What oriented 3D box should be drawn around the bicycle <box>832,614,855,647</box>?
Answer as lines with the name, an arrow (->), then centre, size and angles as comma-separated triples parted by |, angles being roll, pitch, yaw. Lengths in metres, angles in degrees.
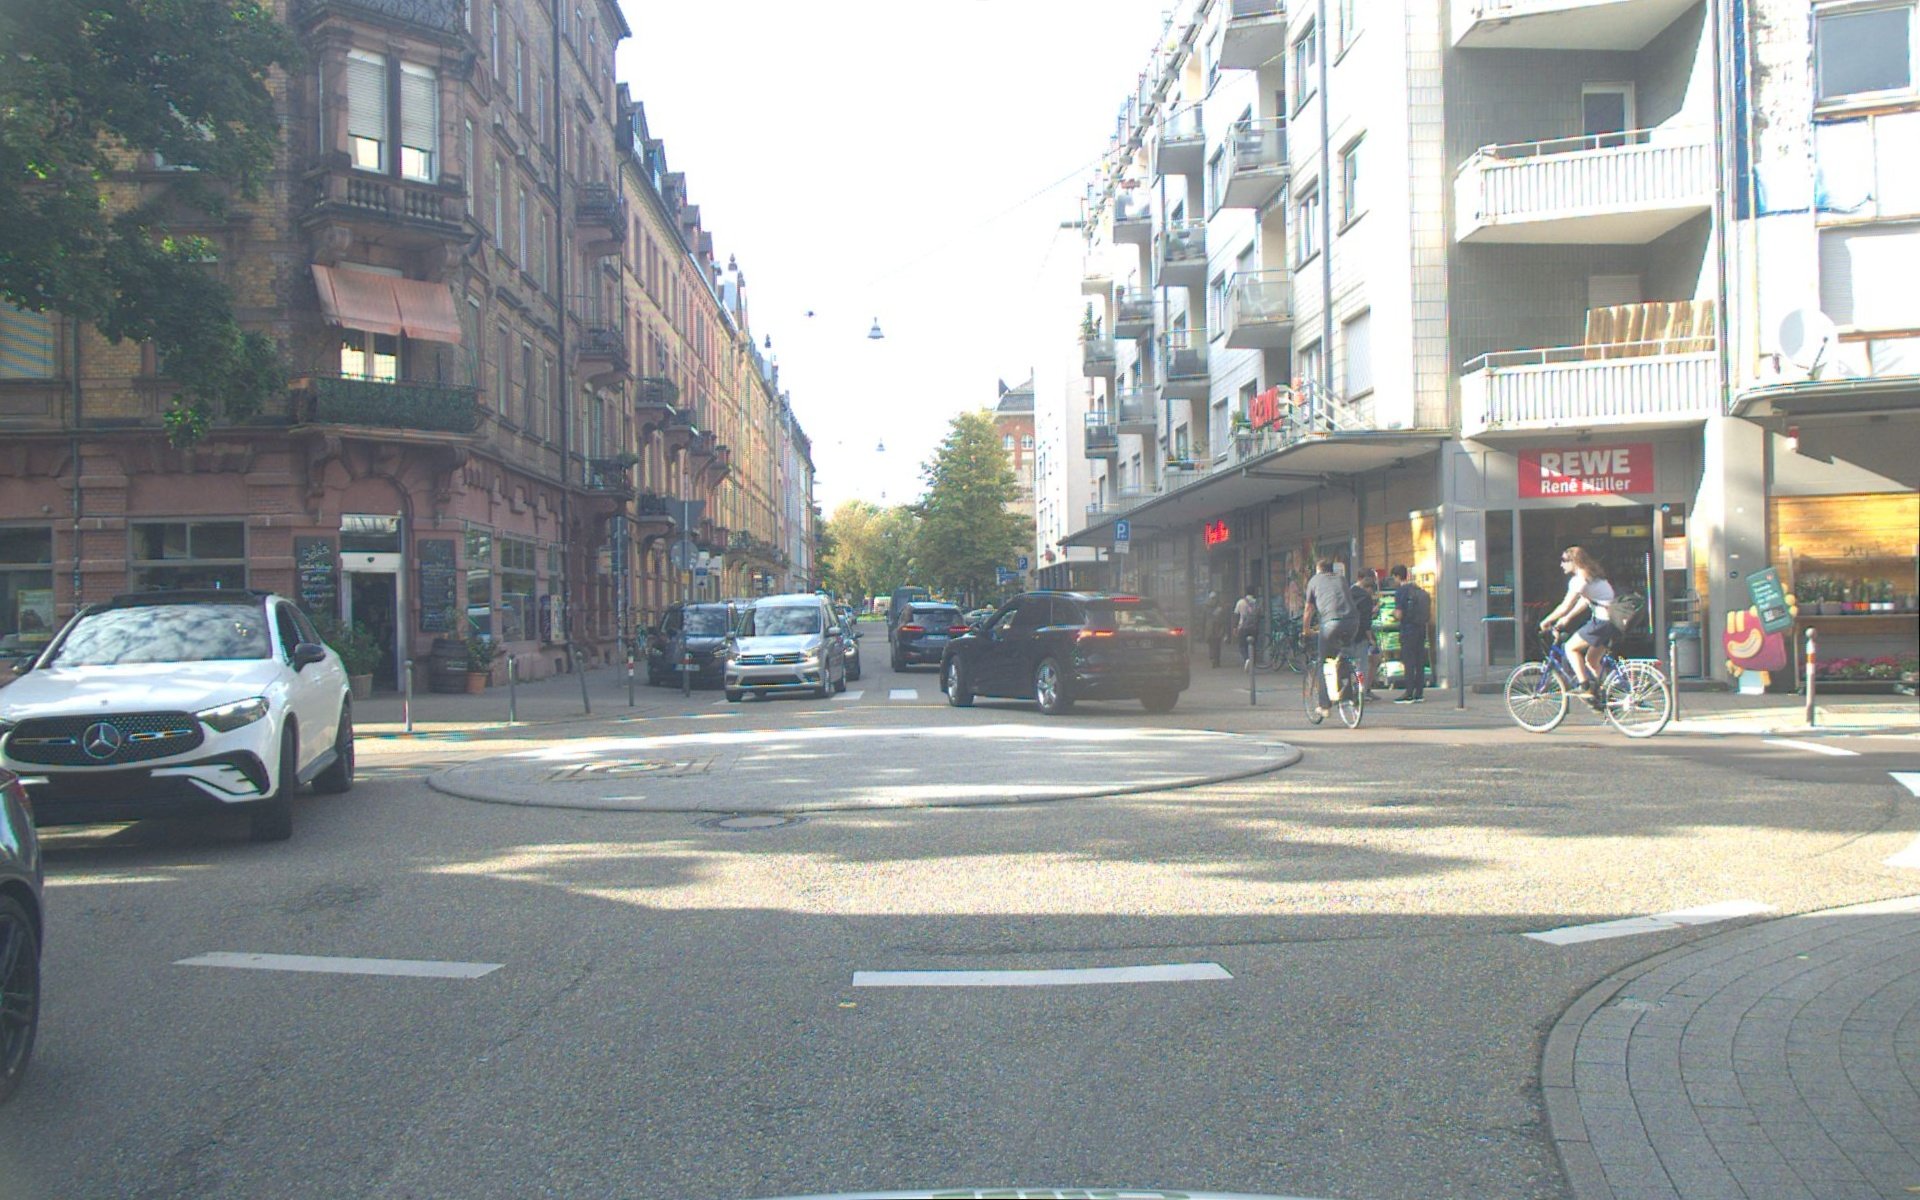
bicycle -> -5.588, 1.452, 79.327 | 0.908, 1.515, 3.459 | 1, -1, -7

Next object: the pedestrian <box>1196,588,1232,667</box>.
pedestrian -> 5.445, 0.588, 35.453 | 0.729, 1.657, 0.813 | -1, 0, 9

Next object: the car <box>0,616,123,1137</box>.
car -> -3.357, 0.757, 3.438 | 1.718, 1.461, 4.201 | 0, -1, -10

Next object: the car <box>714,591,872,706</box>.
car -> -2.865, 0.796, 29.495 | 1.755, 1.822, 4.739 | -2, 0, 7

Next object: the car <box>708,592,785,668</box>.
car -> -6.181, 0.841, 48.176 | 1.954, 2.049, 3.996 | -2, 0, -4

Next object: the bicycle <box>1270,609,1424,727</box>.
bicycle -> 4.189, 0.703, 18.144 | 0.654, 1.199, 2.489 | 0, -1, -12

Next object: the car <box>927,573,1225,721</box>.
car -> 1.462, 0.576, 23.080 | 2.011, 1.754, 4.806 | -3, 1, -25

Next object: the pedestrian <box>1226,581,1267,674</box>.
pedestrian -> 5.481, 0.519, 31.671 | 0.725, 1.742, 0.734 | -1, 0, 9

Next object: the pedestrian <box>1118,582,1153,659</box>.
pedestrian -> 4.455, 0.513, 41.954 | 0.715, 1.897, 1.063 | -1, 0, 12

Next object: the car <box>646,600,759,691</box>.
car -> -5.529, 0.932, 36.036 | 1.746, 1.754, 4.445 | 0, 1, 0

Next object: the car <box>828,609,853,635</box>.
car -> -9.852, 1.785, 136.627 | 1.954, 2.049, 3.997 | -1, 0, -3

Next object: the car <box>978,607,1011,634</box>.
car -> 1.878, 1.122, 90.379 | 1.612, 1.347, 3.575 | -4, 0, -1

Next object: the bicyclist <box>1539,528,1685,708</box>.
bicyclist -> 6.403, 0.172, 16.260 | 0.935, 1.697, 1.001 | -1, -1, -42

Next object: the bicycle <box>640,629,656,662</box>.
bicycle -> -9.600, 1.390, 50.932 | 0.353, 0.963, 1.713 | 0, 0, -7

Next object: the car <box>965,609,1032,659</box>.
car -> 1.205, 1.065, 53.463 | 1.953, 1.512, 3.999 | -2, 0, -2

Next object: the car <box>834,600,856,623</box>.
car -> -10.831, 1.071, 155.942 | 1.954, 2.049, 3.997 | -1, 0, -3

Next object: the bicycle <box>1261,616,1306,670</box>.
bicycle -> 6.349, 0.829, 32.542 | 0.353, 1.016, 1.713 | -1, 0, -6

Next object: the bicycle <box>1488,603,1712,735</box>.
bicycle -> 6.283, 0.658, 16.317 | 0.706, 1.220, 1.945 | -1, -1, -41

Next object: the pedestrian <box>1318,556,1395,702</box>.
pedestrian -> 5.236, 0.381, 21.899 | 0.851, 1.883, 0.612 | -1, 0, 3

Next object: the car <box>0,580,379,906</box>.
car -> -5.415, 0.784, 11.740 | 1.910, 1.752, 4.831 | -3, 1, -14

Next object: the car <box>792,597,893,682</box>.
car -> -2.636, 0.858, 38.077 | 1.888, 1.754, 4.736 | -3, 0, 0

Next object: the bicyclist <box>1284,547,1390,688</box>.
bicyclist -> 4.137, 0.190, 18.197 | 0.917, 1.510, 0.745 | 0, -1, -13

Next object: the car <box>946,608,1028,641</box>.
car -> 1.310, 1.214, 82.634 | 3.909, 1.512, 1.998 | -2, 0, -5

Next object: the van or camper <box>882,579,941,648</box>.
van or camper -> -2.294, 0.644, 77.560 | 2.482, 3.090, 4.454 | -1, 0, -5

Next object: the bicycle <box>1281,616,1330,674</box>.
bicycle -> 6.290, 0.808, 30.179 | 0.356, 1.034, 1.427 | -1, 0, -10

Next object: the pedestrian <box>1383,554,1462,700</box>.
pedestrian -> 6.089, 0.356, 21.812 | 0.851, 1.883, 0.612 | -1, 0, 3

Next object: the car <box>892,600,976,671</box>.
car -> -0.707, 0.853, 41.540 | 1.954, 1.646, 3.998 | -1, 0, -3

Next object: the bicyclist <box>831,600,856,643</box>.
bicyclist -> -5.598, 1.012, 79.399 | 1.111, 2.033, 1.026 | 1, -1, -7
